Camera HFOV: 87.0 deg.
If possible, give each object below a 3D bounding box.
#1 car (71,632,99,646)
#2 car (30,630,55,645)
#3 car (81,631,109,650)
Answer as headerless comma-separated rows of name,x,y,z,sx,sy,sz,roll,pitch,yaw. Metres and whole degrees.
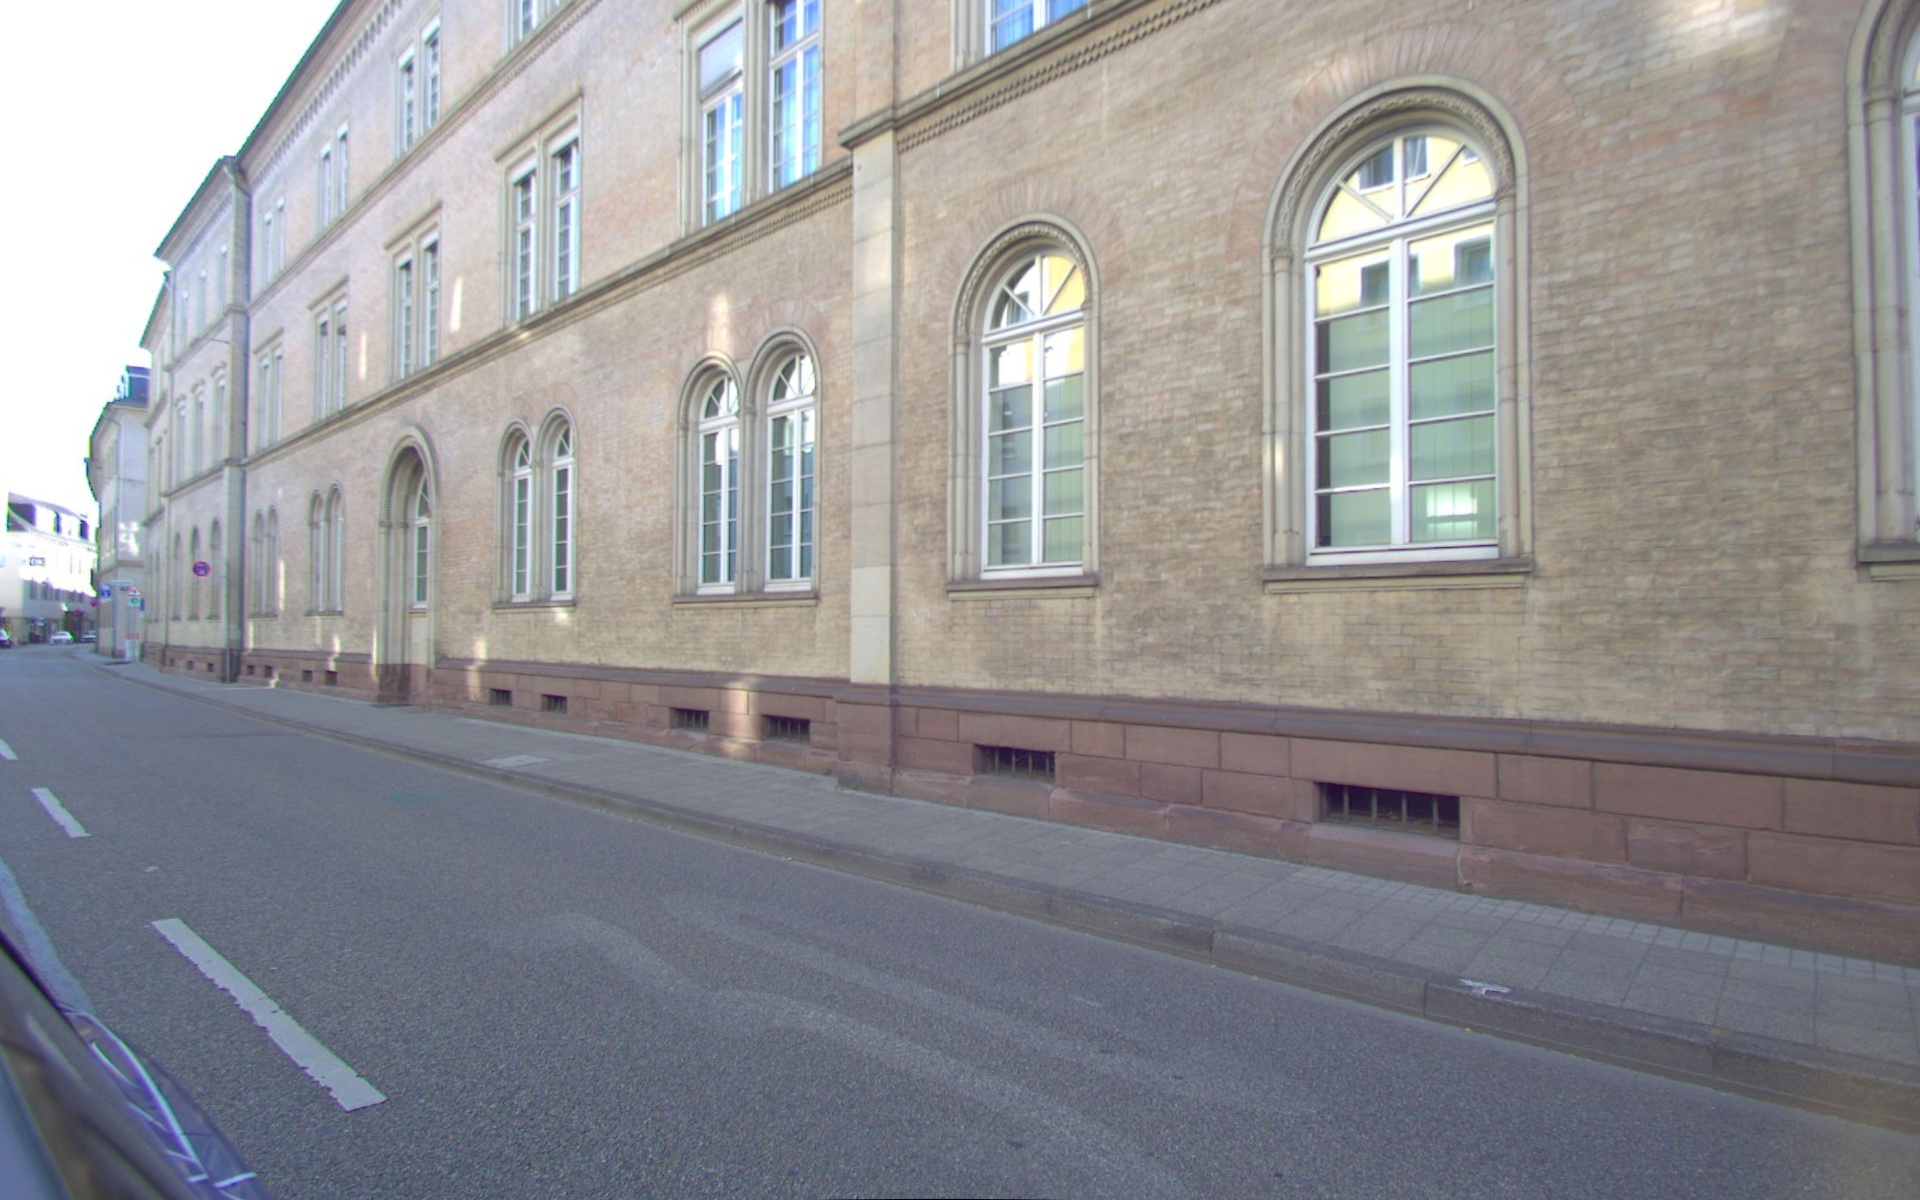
car,-109.327,4.858,126.493,1.896,1.737,4.242,1,-2,-31
car,-102.452,4.185,113.000,1.511,1.737,3.749,1,-2,-34
car,-80.090,3.742,93.751,1.638,1.737,3.748,1,-2,-36
